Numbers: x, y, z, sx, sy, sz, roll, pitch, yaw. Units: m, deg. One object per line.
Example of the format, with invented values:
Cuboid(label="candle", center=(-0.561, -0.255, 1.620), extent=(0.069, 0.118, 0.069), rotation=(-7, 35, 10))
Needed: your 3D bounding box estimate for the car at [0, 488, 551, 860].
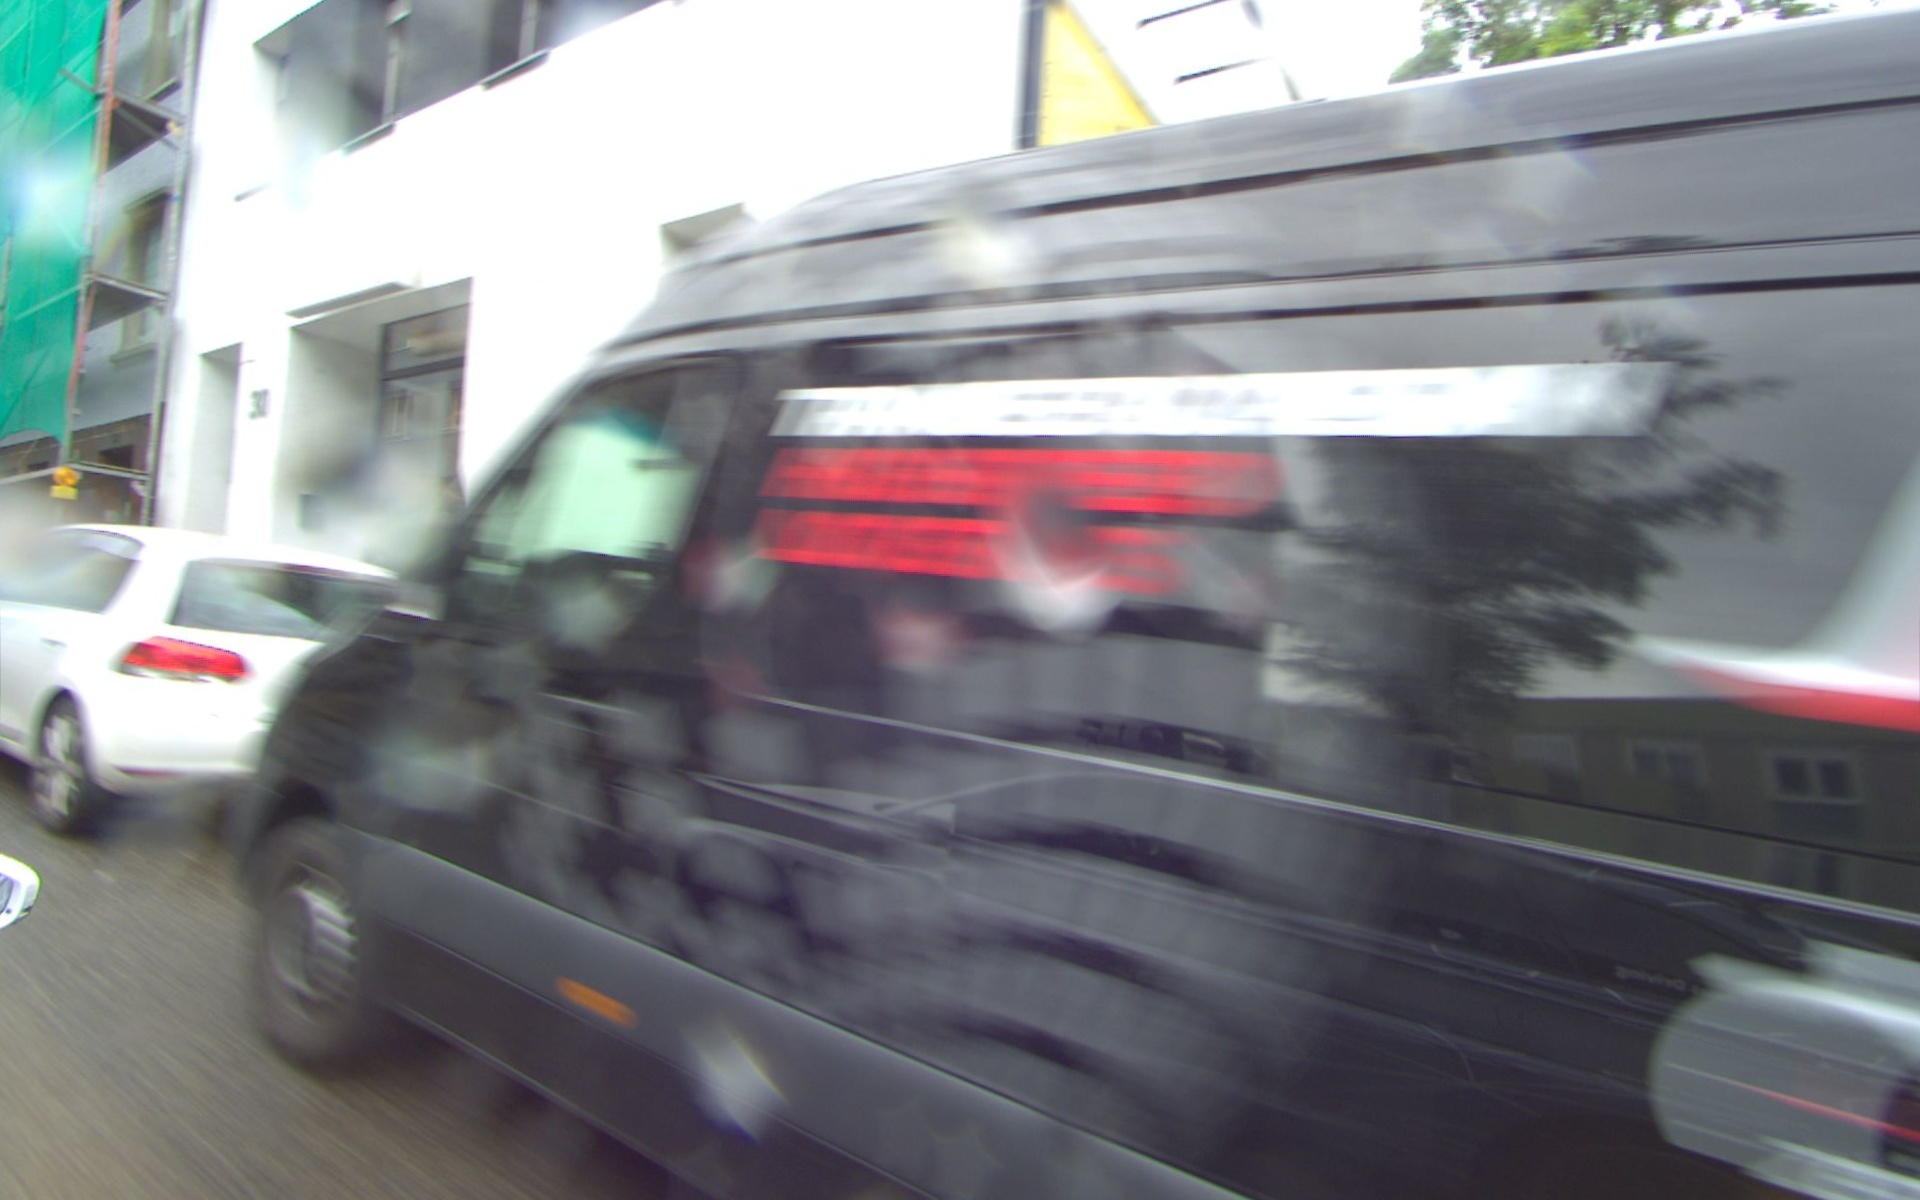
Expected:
Cuboid(label="car", center=(-4.849, 0.262, 6.302), extent=(4.266, 1.529, 1.998), rotation=(7, -3, 33))

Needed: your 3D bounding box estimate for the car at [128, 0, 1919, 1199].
Cuboid(label="car", center=(0.253, 0.287, 2.748), extent=(5.742, 2.440, 1.998), rotation=(5, -3, 33))
